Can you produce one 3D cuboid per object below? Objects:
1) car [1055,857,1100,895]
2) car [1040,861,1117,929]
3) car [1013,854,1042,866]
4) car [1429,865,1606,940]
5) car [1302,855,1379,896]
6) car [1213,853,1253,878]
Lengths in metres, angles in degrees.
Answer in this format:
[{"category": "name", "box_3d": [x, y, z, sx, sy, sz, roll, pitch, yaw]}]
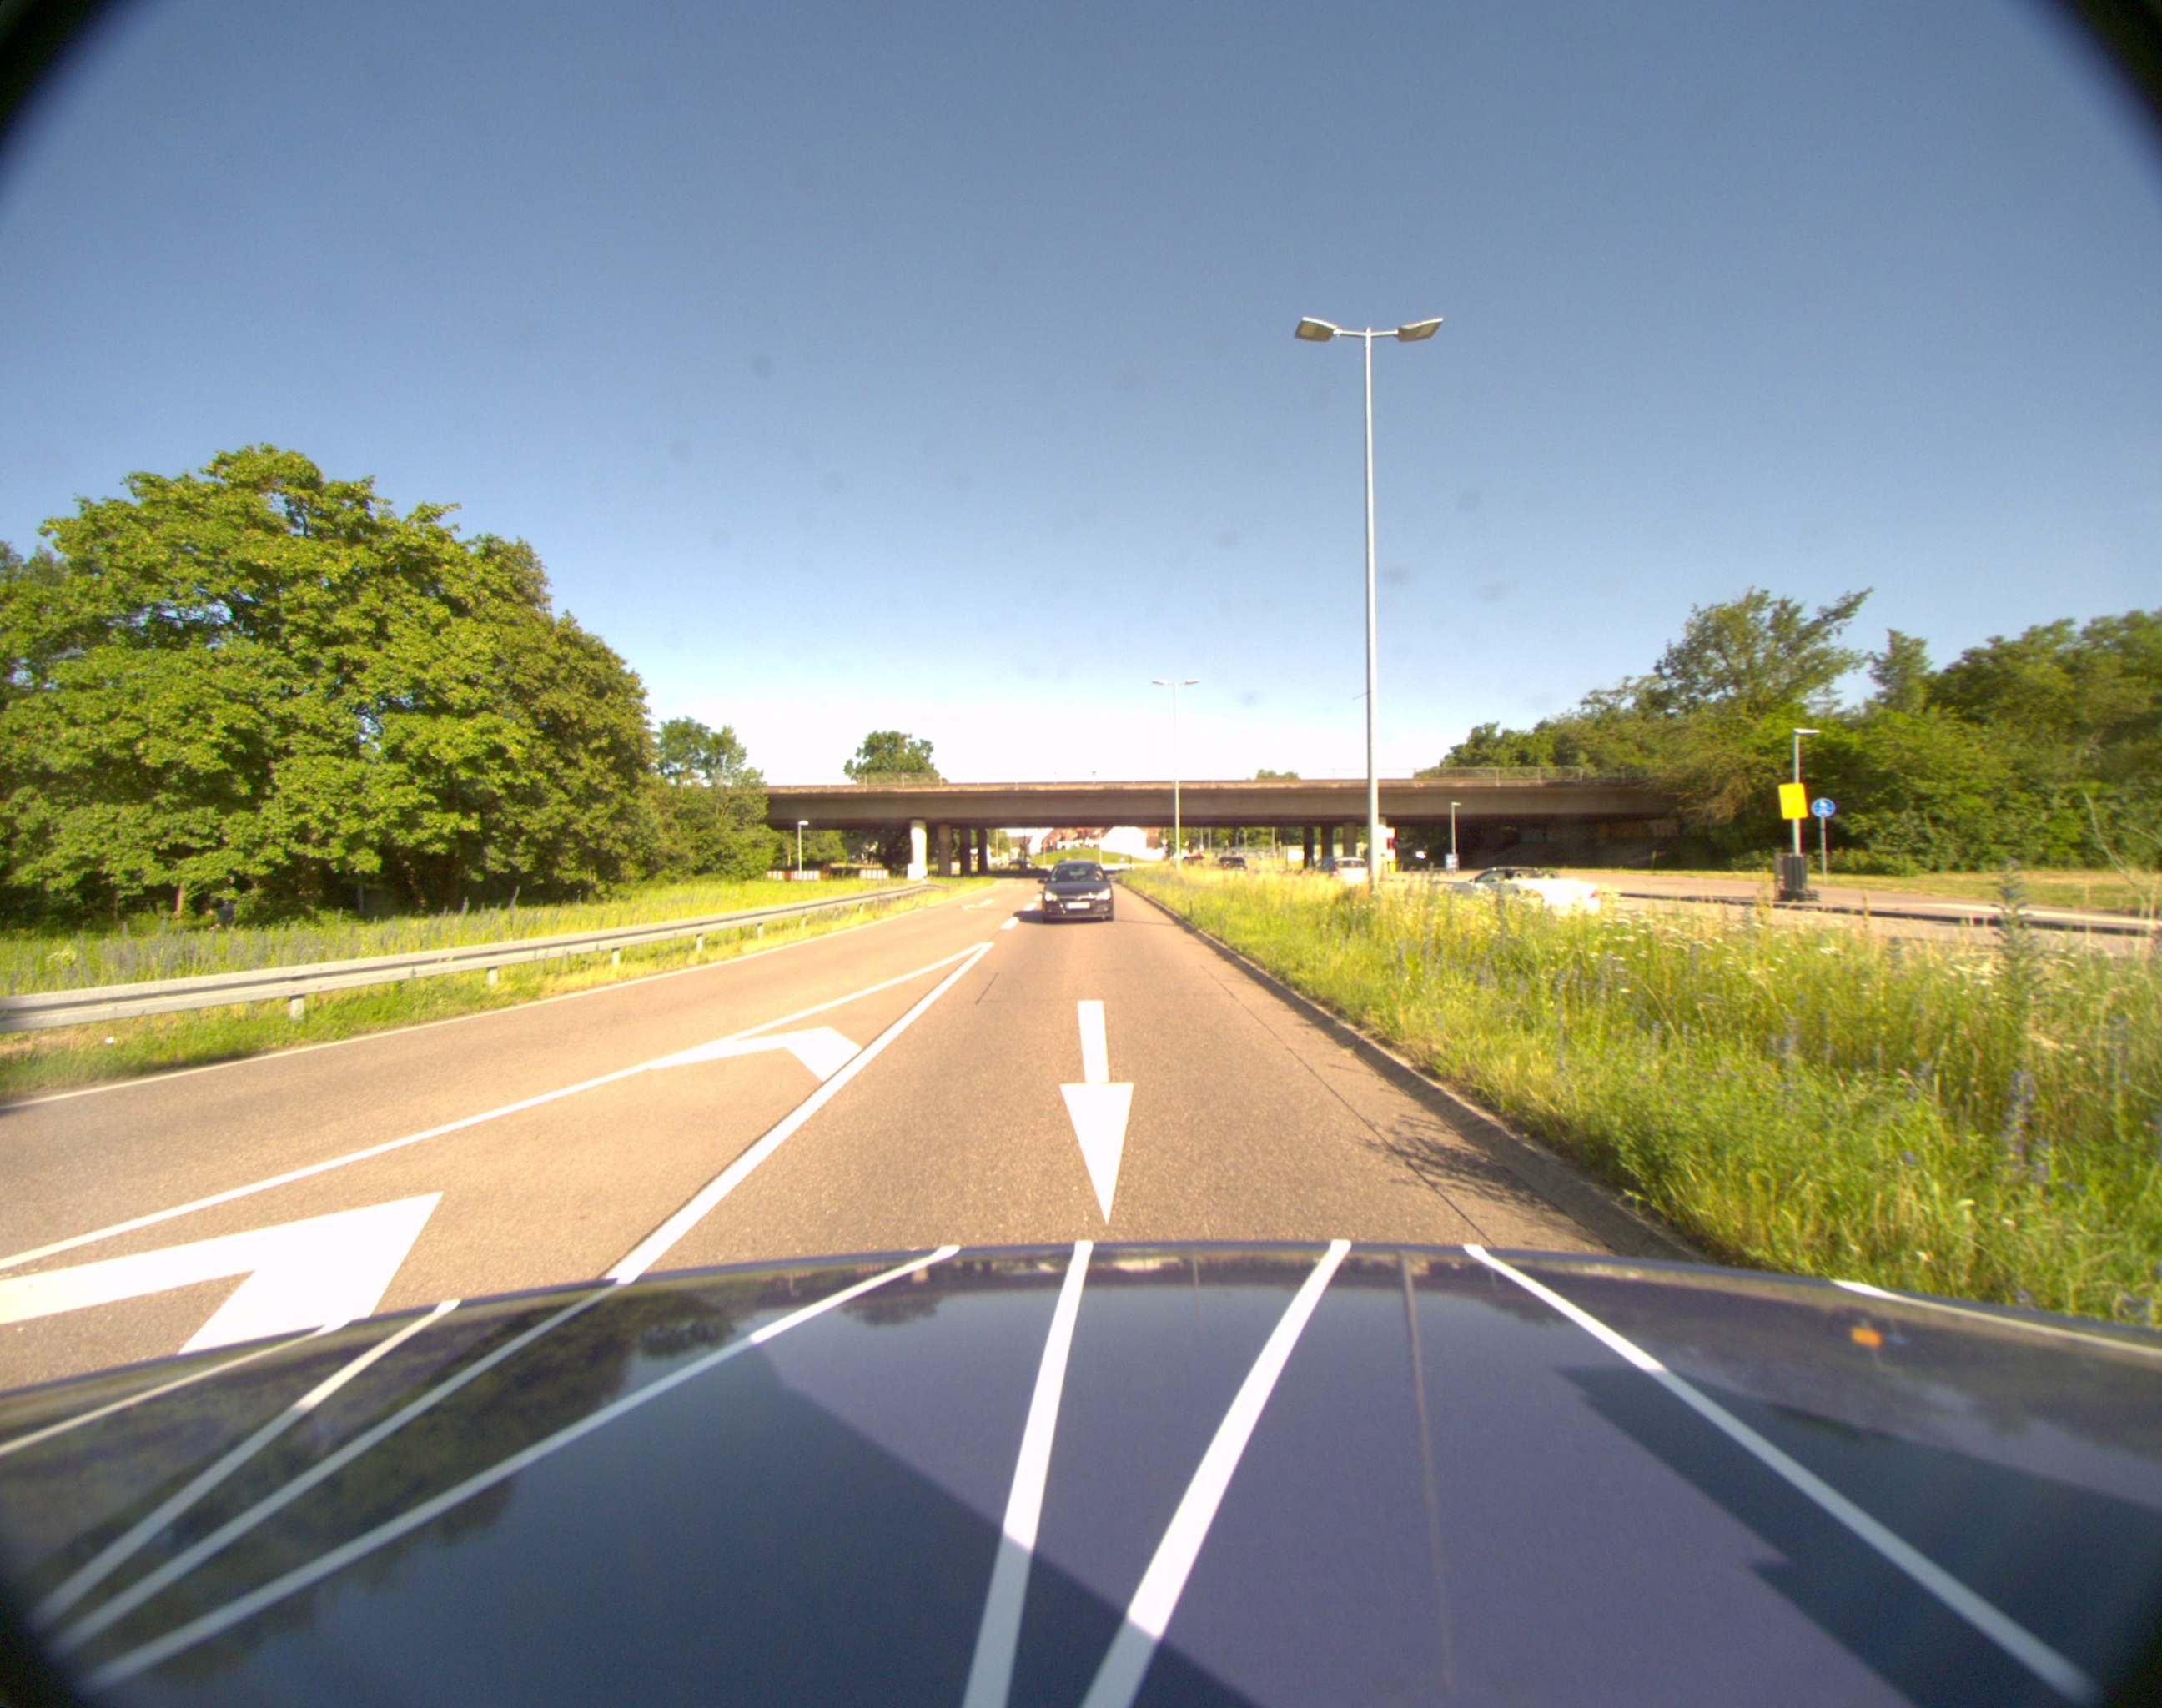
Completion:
[{"category": "car", "box_3d": [-0.100, 0.918, 33.740, 1.827, 1.528, 4.042, -1, 0, 1]}, {"category": "car", "box_3d": [-0.001, 0.956, 19.324, 1.706, 1.446, 3.959, -2, 0, 2]}, {"category": "car", "box_3d": [-7.485, 0.844, 106.128, 1.832, 1.528, 4.031, -1, 0, -42]}, {"category": "car", "box_3d": [9.721, 1.000, 17.332, 1.637, 1.436, 4.103, -1, 0, -1]}, {"category": "car", "box_3d": [10.410, 0.833, 30.725, 1.637, 1.521, 3.591, -1, 0, -4]}, {"category": "car", "box_3d": [9.539, 0.688, 47.844, 1.637, 1.521, 3.592, -1, 0, -3]}]
